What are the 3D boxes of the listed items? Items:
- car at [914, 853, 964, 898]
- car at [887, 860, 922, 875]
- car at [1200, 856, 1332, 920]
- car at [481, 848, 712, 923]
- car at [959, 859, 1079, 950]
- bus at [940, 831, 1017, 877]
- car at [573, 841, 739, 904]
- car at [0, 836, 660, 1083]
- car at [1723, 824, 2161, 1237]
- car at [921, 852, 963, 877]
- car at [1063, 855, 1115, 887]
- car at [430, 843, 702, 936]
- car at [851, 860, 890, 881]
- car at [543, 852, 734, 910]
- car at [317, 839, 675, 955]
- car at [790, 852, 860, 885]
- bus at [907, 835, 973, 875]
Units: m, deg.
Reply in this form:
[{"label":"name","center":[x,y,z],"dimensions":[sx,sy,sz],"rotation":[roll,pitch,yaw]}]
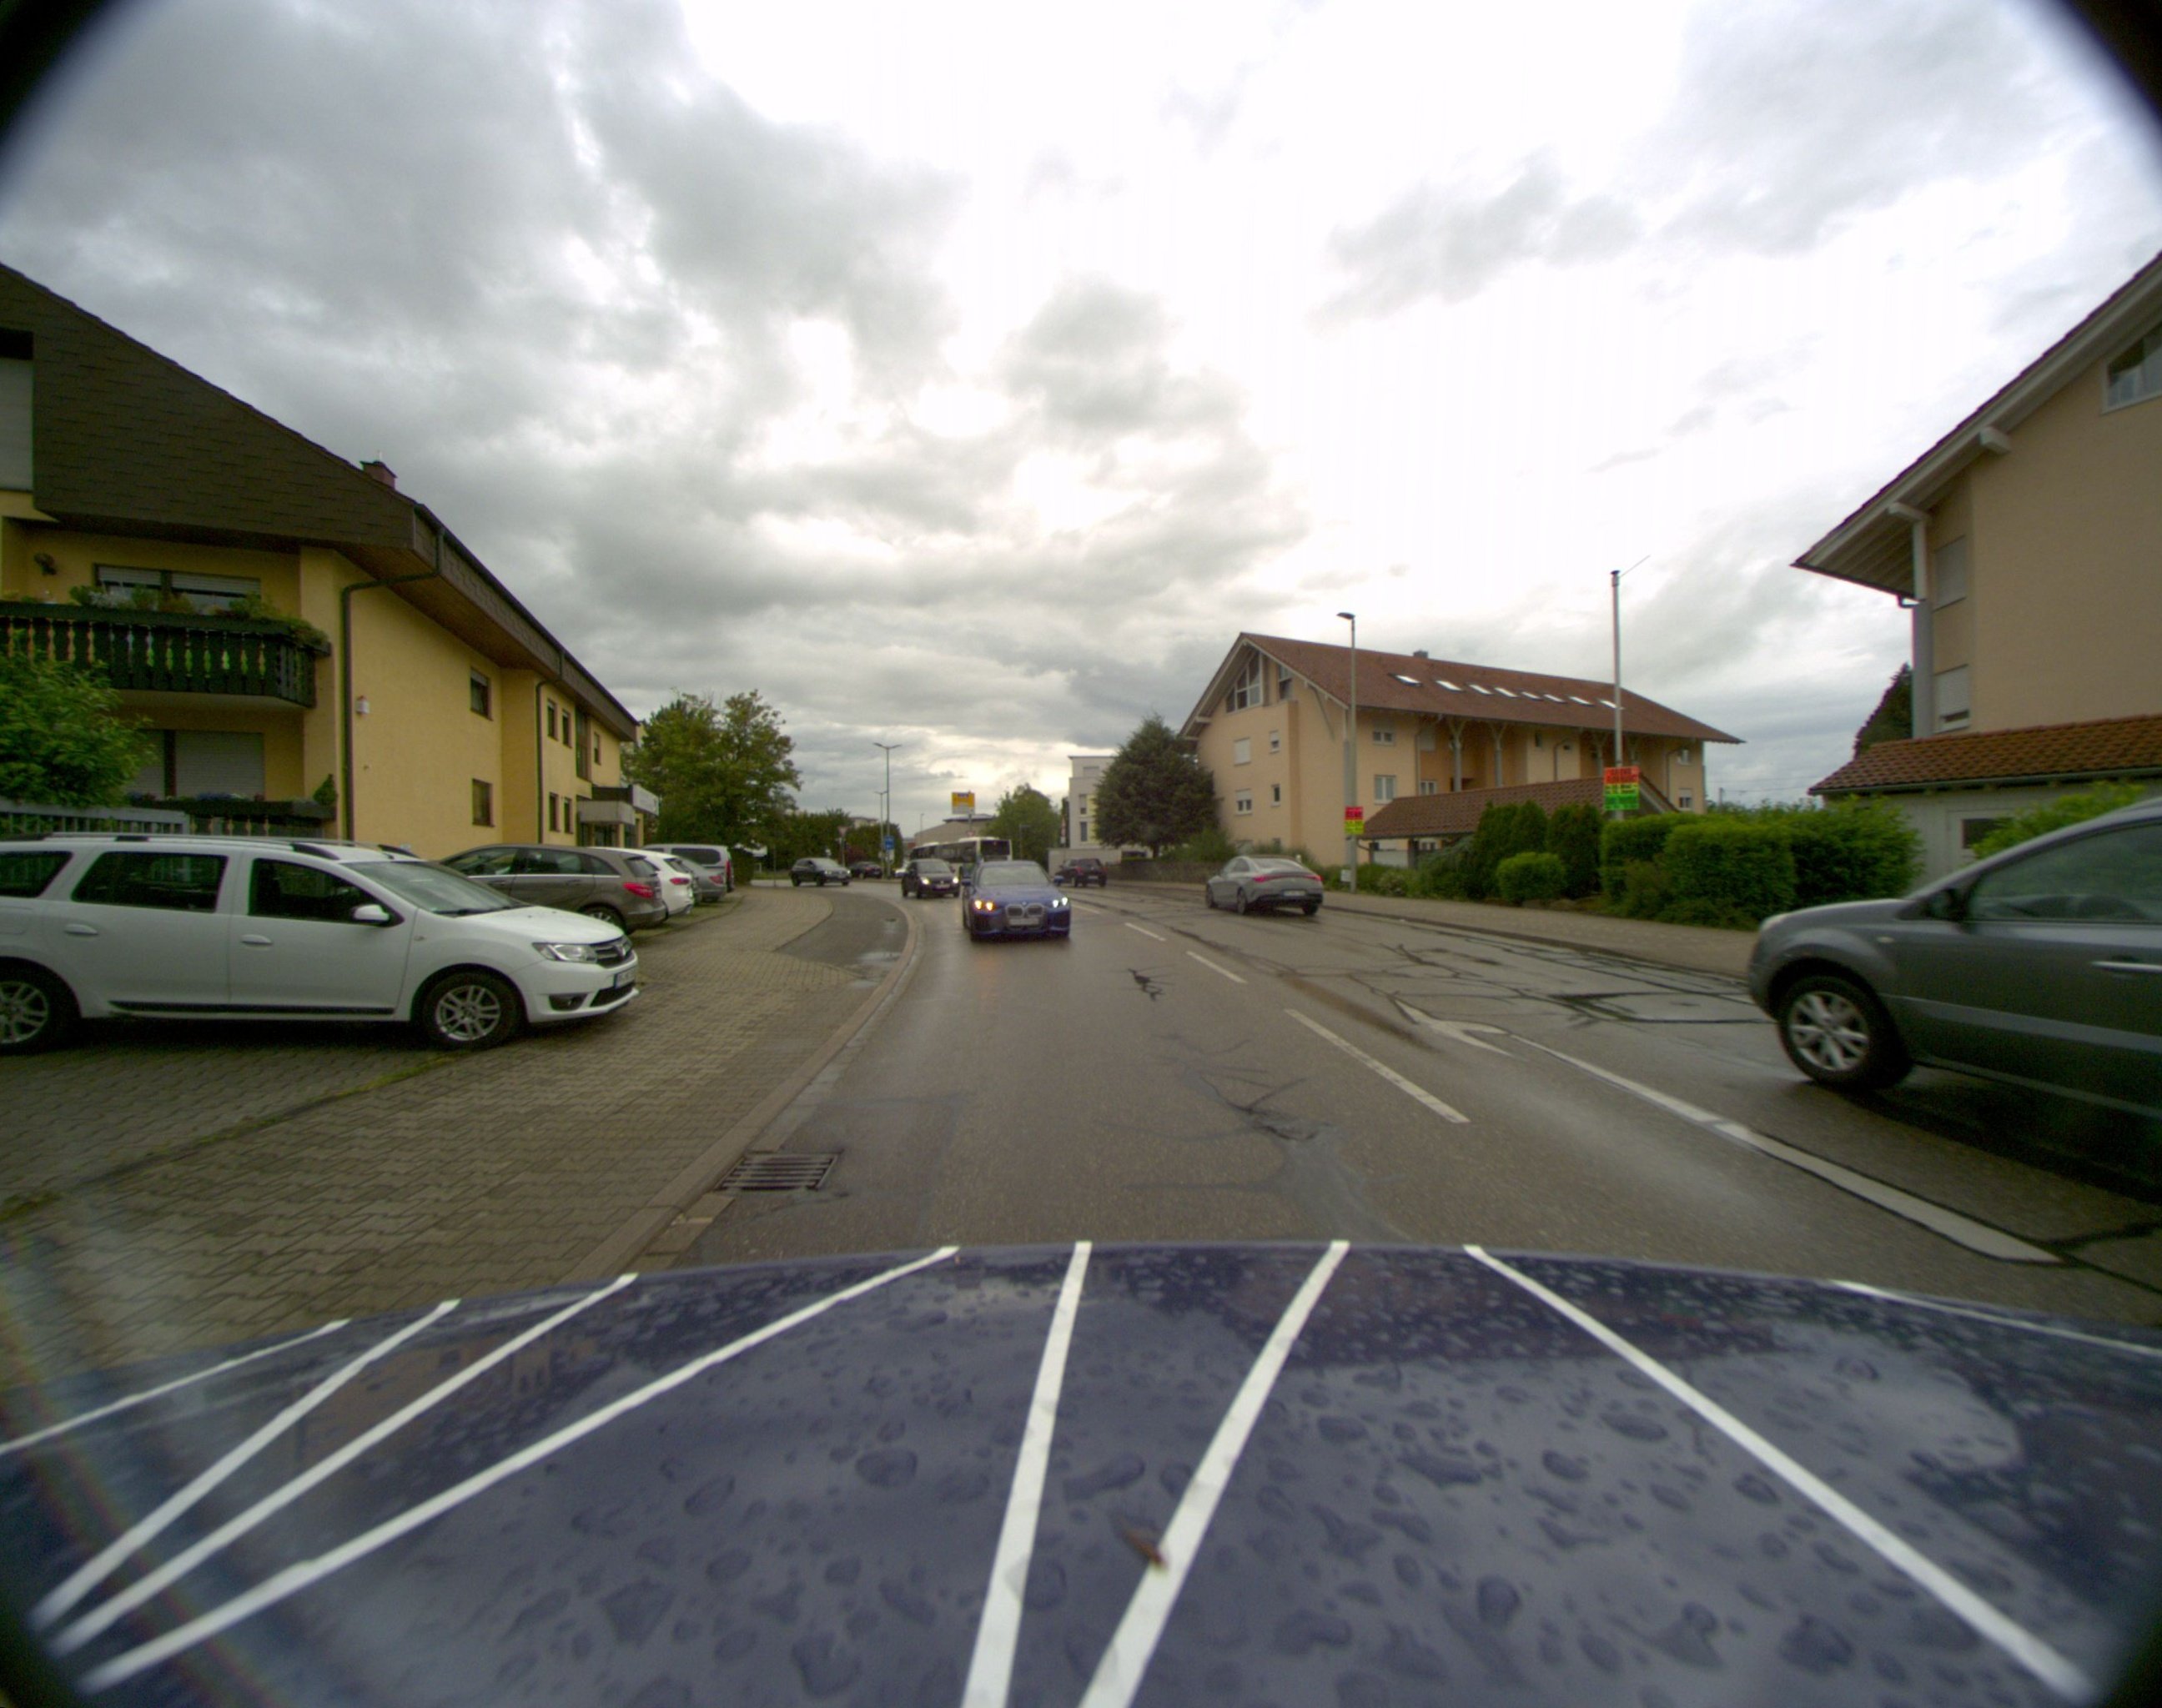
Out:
[{"label":"car","center":[-5.798,0.801,30.715],"dimensions":[1.748,1.511,3.993],"rotation":[-2,3,-14]},{"label":"car","center":[-19.675,1.473,84.741],"dimensions":[1.996,1.630,4.005],"rotation":[0,0,17]},{"label":"car","center":[4.505,0.777,19.286],"dimensions":[1.907,1.382,4.487],"rotation":[-2,0,-5]},{"label":"car","center":[-10.882,0.717,17.432],"dimensions":[4.061,1.481,1.902],"rotation":[3,-1,-19]},{"label":"car","center":[-1.407,0.884,15.335],"dimensions":[1.915,1.487,4.344],"rotation":[-2,0,-11]},{"label":"bus","center":[-7.452,0.053,54.231],"dimensions":[2.598,2.982,8.386],"rotation":[0,-1,-29]},{"label":"car","center":[-13.207,0.593,23.940],"dimensions":[4.314,1.770,1.901],"rotation":[3,-1,-23]},{"label":"car","center":[-6.085,0.757,6.094],"dimensions":[4.357,1.587,1.764],"rotation":[3,-1,-14]},{"label":"car","center":[5.262,0.692,2.983],"dimensions":[1.906,1.647,4.267],"rotation":[-1,-1,1]},{"label":"car","center":[-9.379,0.699,51.034],"dimensions":[1.868,1.509,4.283],"rotation":[2,0,-23]},{"label":"car","center":[0.363,0.829,37.805],"dimensions":[1.593,1.413,3.690],"rotation":[-2,0,-15]},{"label":"car","center":[-9.801,0.696,14.906],"dimensions":[4.063,1.587,1.892],"rotation":[3,-1,-23]},{"label":"car","center":[-17.295,1.300,62.342],"dimensions":[1.960,1.510,4.163],"rotation":[-1,2,-32]},{"label":"car","center":[-12.188,0.768,21.265],"dimensions":[4.381,1.415,1.692],"rotation":[3,-1,-23]},{"label":"car","center":[-8.903,0.688,12.062],"dimensions":[4.062,1.587,1.901],"rotation":[3,-1,-21]},{"label":"car","center":[-15.002,0.815,44.435],"dimensions":[4.294,1.740,1.972],"rotation":[1,4,42]},{"label":"bus","center":[-11.655,0.112,61.941],"dimensions":[2.559,2.982,9.183],"rotation":[0,-1,-29]}]
